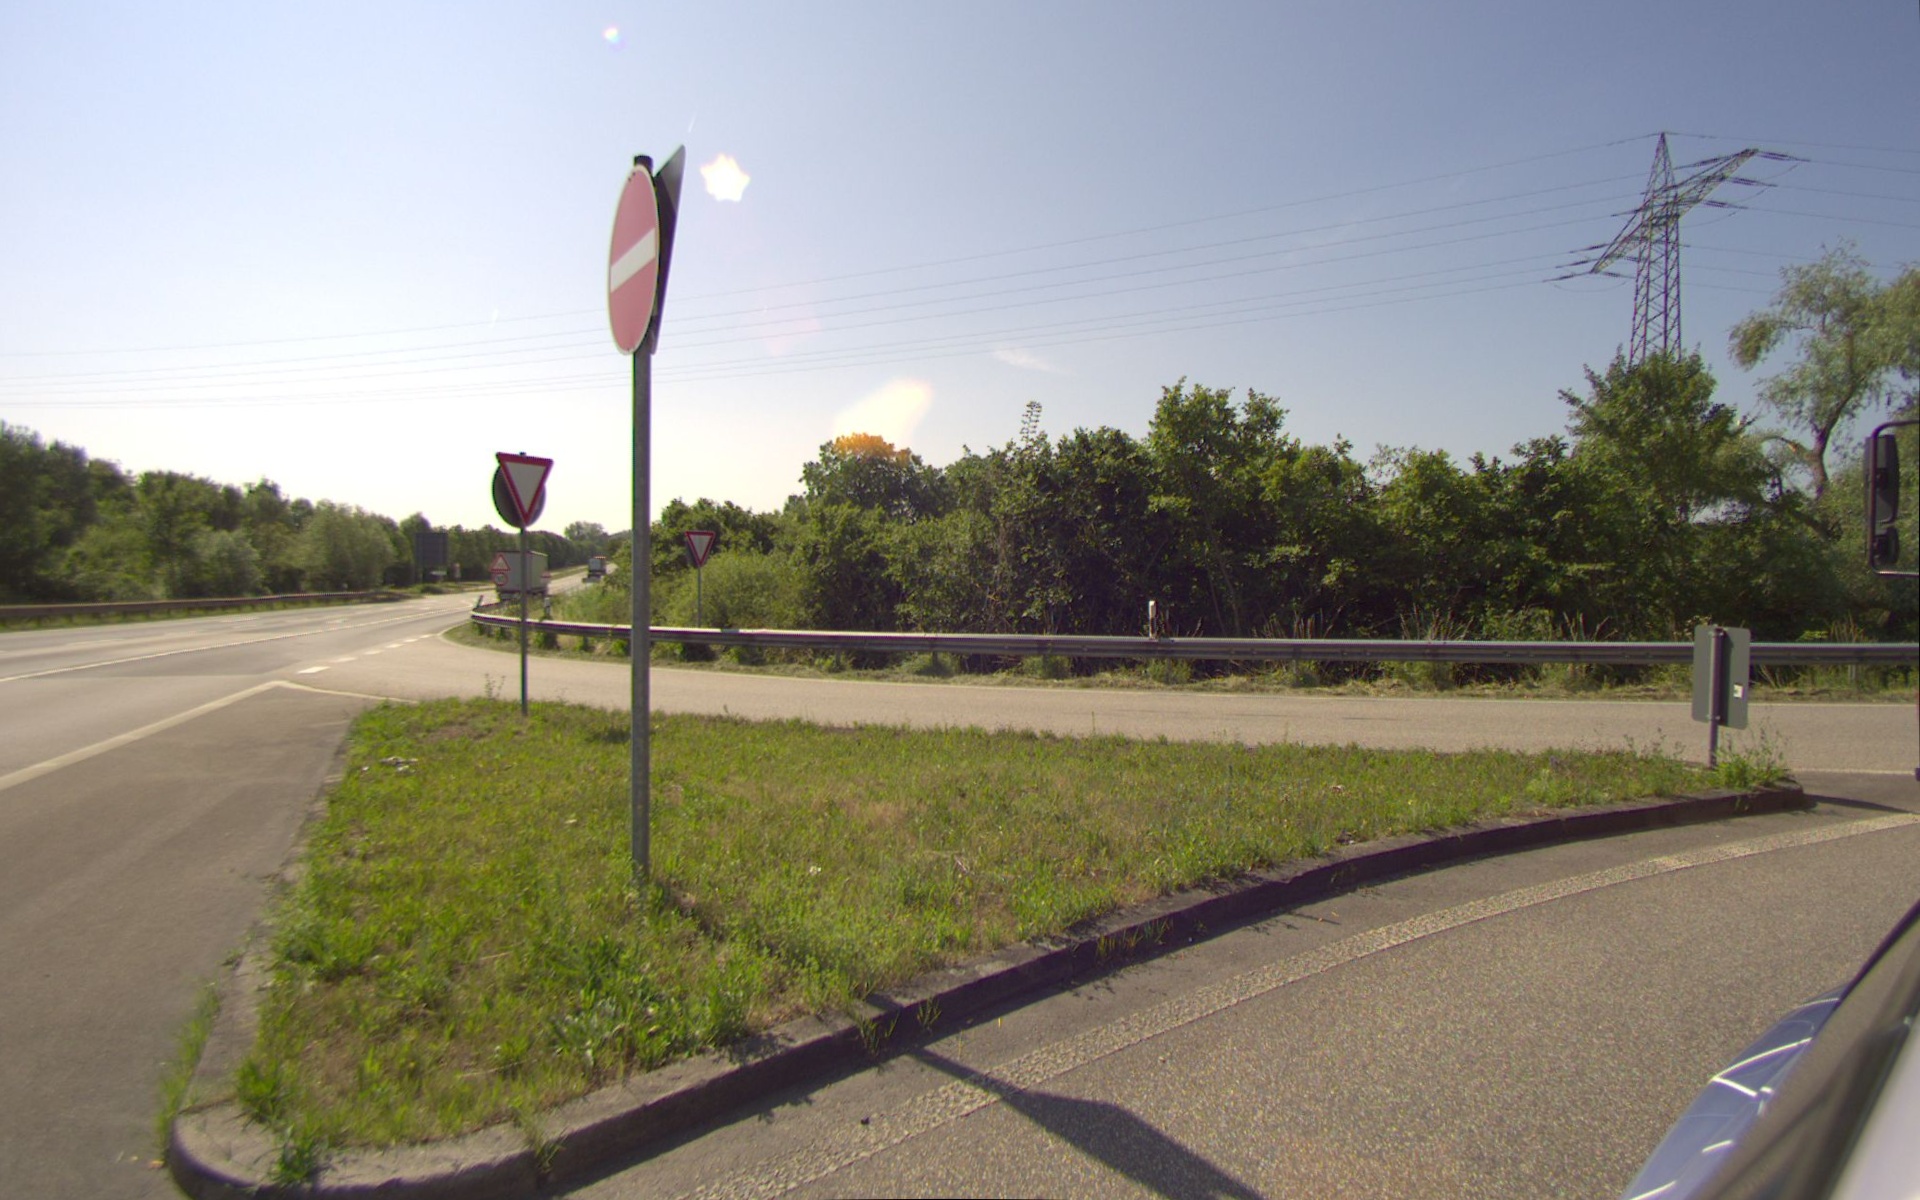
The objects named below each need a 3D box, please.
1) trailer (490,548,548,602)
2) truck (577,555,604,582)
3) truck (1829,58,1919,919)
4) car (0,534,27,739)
[{"bbox_3d":[-35.958,-2.041,82.996,2.869,4.060,13.446,0,1,-17],"label":"trailer"},{"bbox_3d":[-77.151,-6.475,211.473,4.051,5.524,13.635,0,1,-15],"label":"truck"},{"bbox_3d":[8.675,-0.470,5.313,9.070,3.707,2.696,0,0,-25],"label":"truck"},{"bbox_3d":[-9.059,0.352,7.196,1.958,1.903,5.003,0,0,-23],"label":"car"}]
